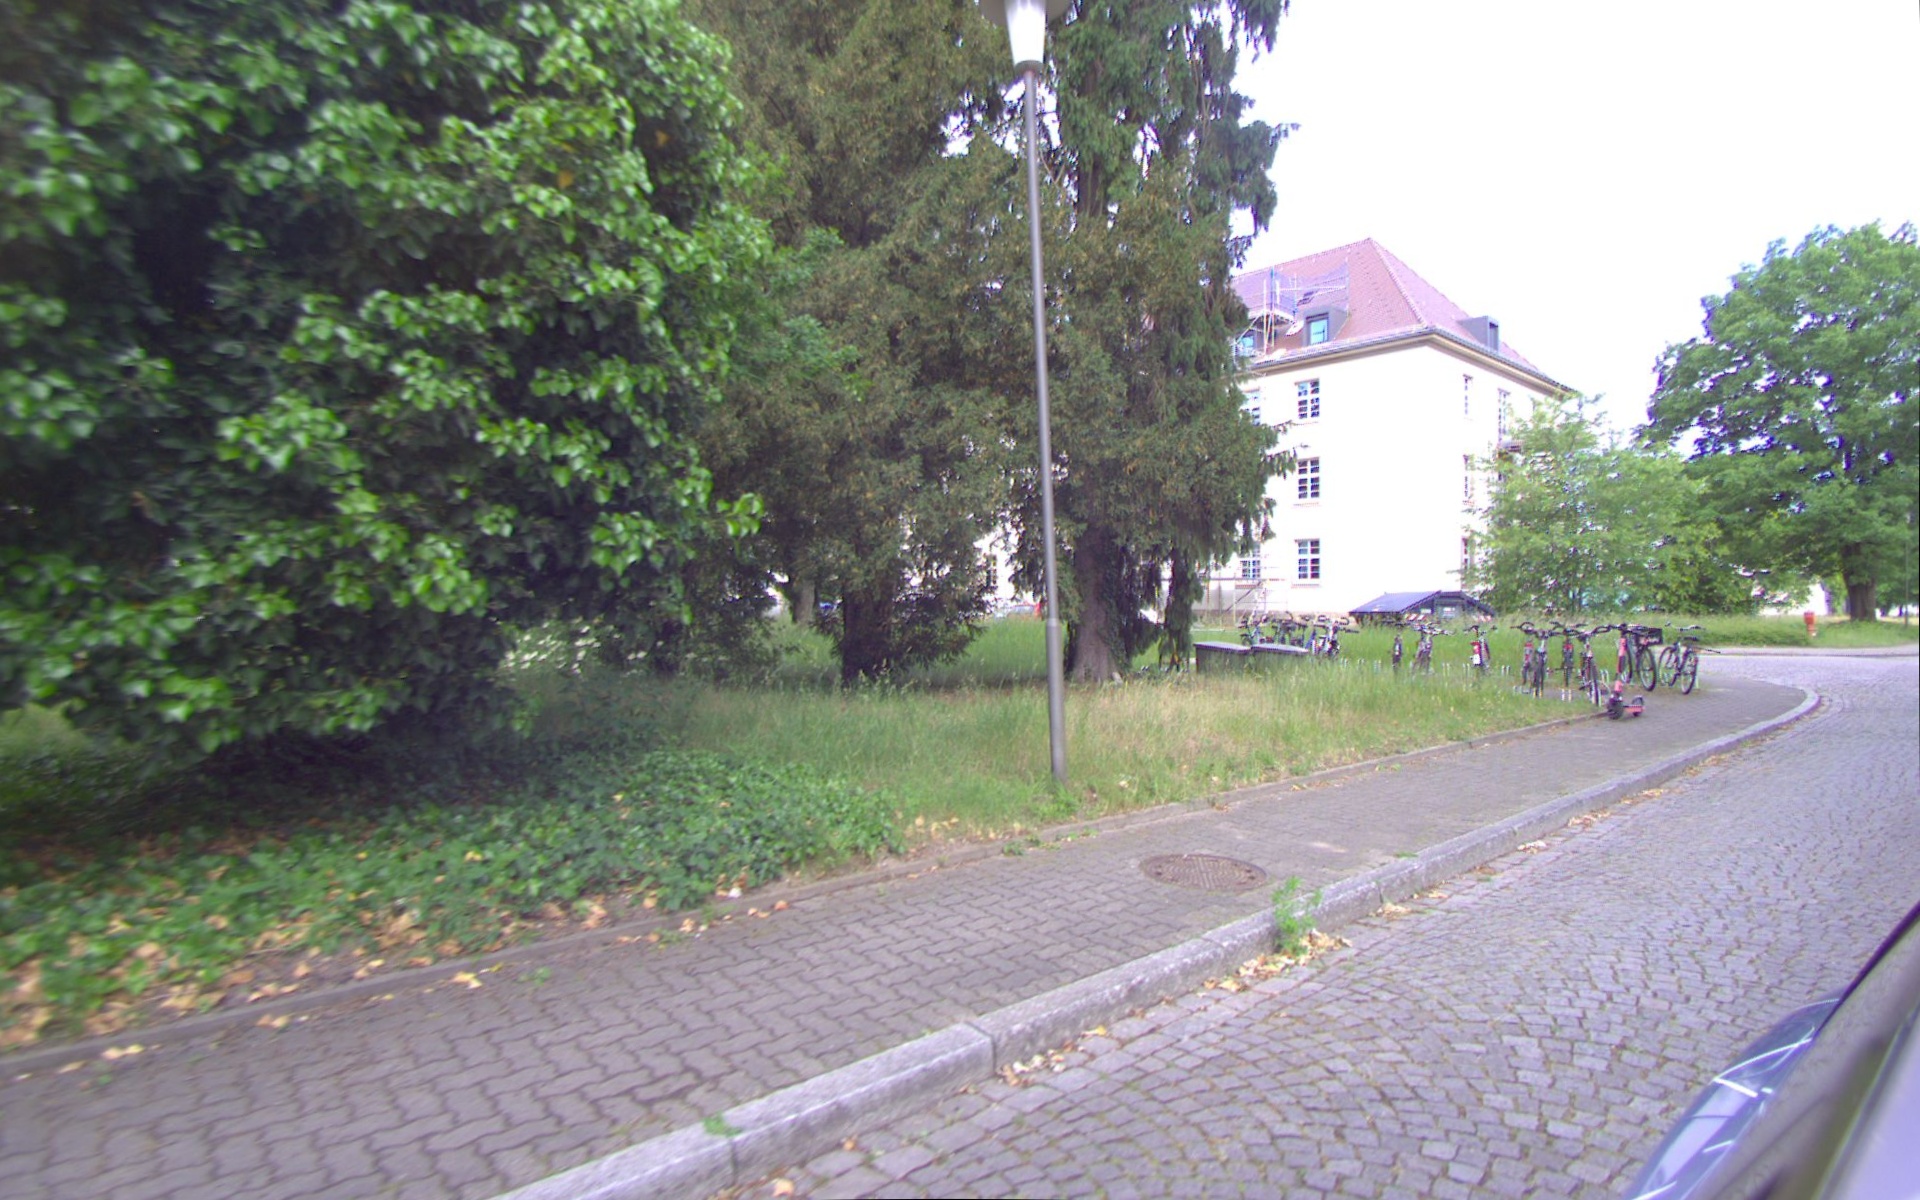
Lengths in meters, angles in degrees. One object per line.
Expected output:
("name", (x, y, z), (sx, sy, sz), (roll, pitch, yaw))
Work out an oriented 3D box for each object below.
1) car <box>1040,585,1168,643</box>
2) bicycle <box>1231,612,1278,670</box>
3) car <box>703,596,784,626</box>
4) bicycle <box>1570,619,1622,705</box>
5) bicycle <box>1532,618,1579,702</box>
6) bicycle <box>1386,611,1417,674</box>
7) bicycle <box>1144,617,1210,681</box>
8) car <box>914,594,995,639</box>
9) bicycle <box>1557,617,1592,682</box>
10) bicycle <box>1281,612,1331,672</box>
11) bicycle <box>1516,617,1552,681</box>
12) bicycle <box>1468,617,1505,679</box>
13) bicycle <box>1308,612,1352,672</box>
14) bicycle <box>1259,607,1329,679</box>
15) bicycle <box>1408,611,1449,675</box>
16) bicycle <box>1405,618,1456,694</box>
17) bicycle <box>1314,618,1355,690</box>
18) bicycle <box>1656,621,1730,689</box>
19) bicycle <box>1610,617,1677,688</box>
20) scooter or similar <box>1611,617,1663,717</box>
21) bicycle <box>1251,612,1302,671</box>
("car", (5.511, 0.495, 38.245), (5.186, 2.022, 1.964), (0, -1, -42))
("bicycle", (6.081, 0.815, 20.860), (0.474, 1.126, 1.745), (-1, -1, 32))
("car", (-12.515, 0.626, 58.677), (4.468, 1.669, 1.465), (0, -1, -42))
("bicycle", (9.089, 0.855, 14.505), (0.547, 1.129, 1.751), (-1, -1, 30))
("bicycle", (8.642, 0.831, 14.711), (0.547, 1.129, 1.785), (-1, -1, 30))
("bicycle", (8.438, 0.785, 19.318), (0.473, 1.126, 1.749), (-1, -1, 26))
("bicycle", (3.824, 0.828, 17.736), (0.547, 1.055, 1.663), (-1, -1, 34))
("car", (-0.211, 0.677, 43.154), (3.194, 1.867, 1.601), (0, -1, -42))
("bicycle", (10.714, 0.839, 17.637), (0.474, 1.020, 1.649), (-1, 0, 32))
("bicycle", (6.885, 0.808, 20.118), (0.440, 1.126, 1.629), (-1, -1, 37))
("bicycle", (10.233, 0.846, 18.026), (0.474, 1.020, 1.649), (-1, 0, 32))
("bicycle", (9.665, 0.856, 18.553), (0.474, 1.020, 1.649), (-1, 0, 32))
("bicycle", (7.313, 0.798, 19.972), (0.474, 1.126, 1.745), (-1, -1, 32))
("bicycle", (5.815, 0.717, 17.590), (0.549, 1.186, 1.729), (-1, -1, 40))
("bicycle", (8.758, 0.777, 18.887), (0.474, 1.126, 1.745), (-1, -1, 32))
("bicycle", (7.272, 0.828, 15.699), (0.611, 1.078, 1.812), (-1, -1, 22))
("bicycle", (6.070, 0.841, 16.356), (0.545, 1.078, 1.741), (-1, -1, 22))
("bicycle", (12.113, 0.886, 16.772), (0.471, 1.020, 1.614), (-1, 0, 17))
("bicycle", (11.667, 0.873, 17.324), (0.471, 1.087, 1.614), (-1, 0, 17))
("scooter or similar", (8.740, 0.840, 13.059), (0.356, 1.225, 1.119), (-1, -1, 44))
("bicycle", (6.368, 0.812, 20.312), (0.440, 1.126, 1.629), (-1, -1, 37))
